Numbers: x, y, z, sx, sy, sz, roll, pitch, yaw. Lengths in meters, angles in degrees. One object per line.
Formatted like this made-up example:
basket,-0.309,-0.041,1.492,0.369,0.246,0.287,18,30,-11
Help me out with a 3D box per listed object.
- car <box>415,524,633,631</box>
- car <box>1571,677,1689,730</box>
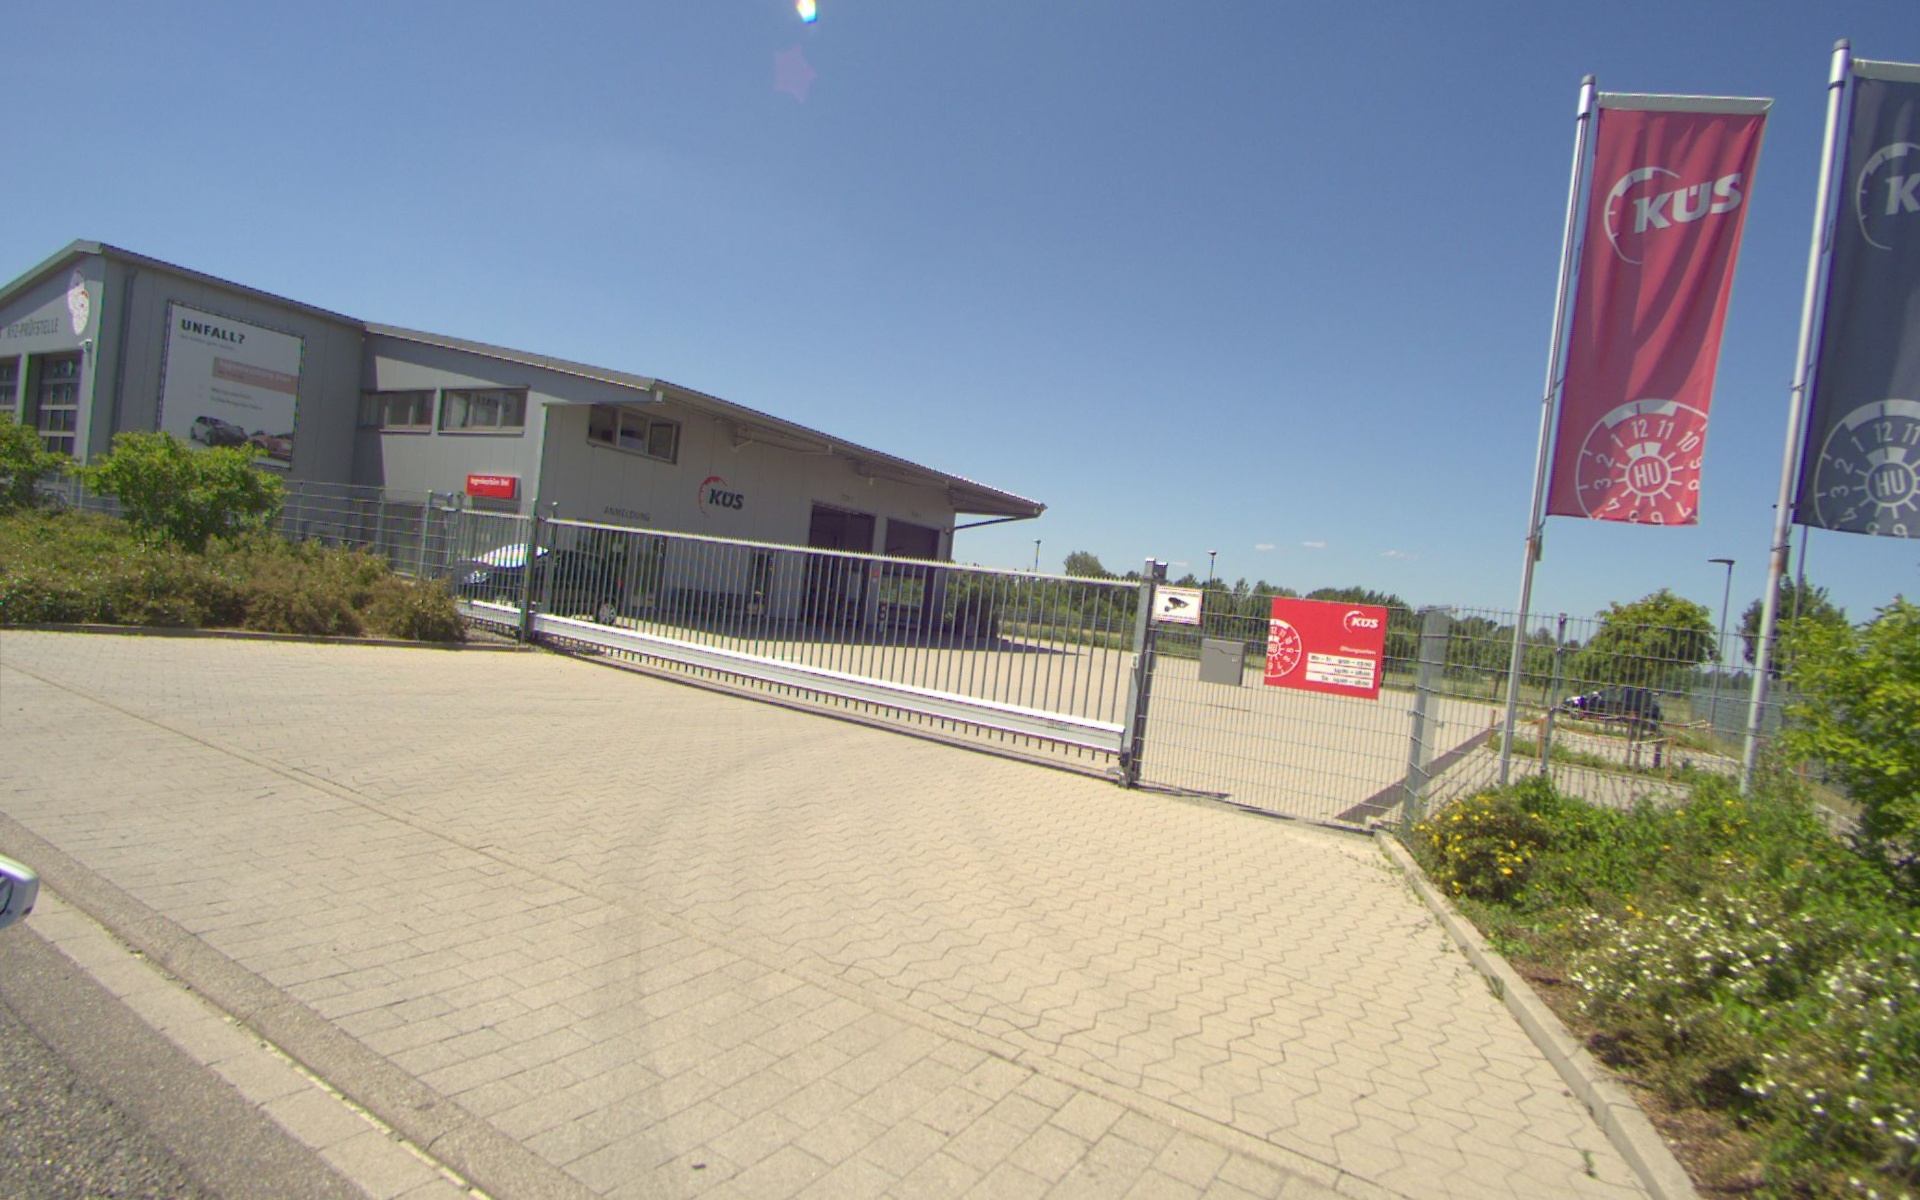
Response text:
car,-8.635,-0.395,20.193,1.675,1.698,3.615,6,0,31
car,25.610,3.959,38.608,3.545,1.473,1.765,6,-2,32
